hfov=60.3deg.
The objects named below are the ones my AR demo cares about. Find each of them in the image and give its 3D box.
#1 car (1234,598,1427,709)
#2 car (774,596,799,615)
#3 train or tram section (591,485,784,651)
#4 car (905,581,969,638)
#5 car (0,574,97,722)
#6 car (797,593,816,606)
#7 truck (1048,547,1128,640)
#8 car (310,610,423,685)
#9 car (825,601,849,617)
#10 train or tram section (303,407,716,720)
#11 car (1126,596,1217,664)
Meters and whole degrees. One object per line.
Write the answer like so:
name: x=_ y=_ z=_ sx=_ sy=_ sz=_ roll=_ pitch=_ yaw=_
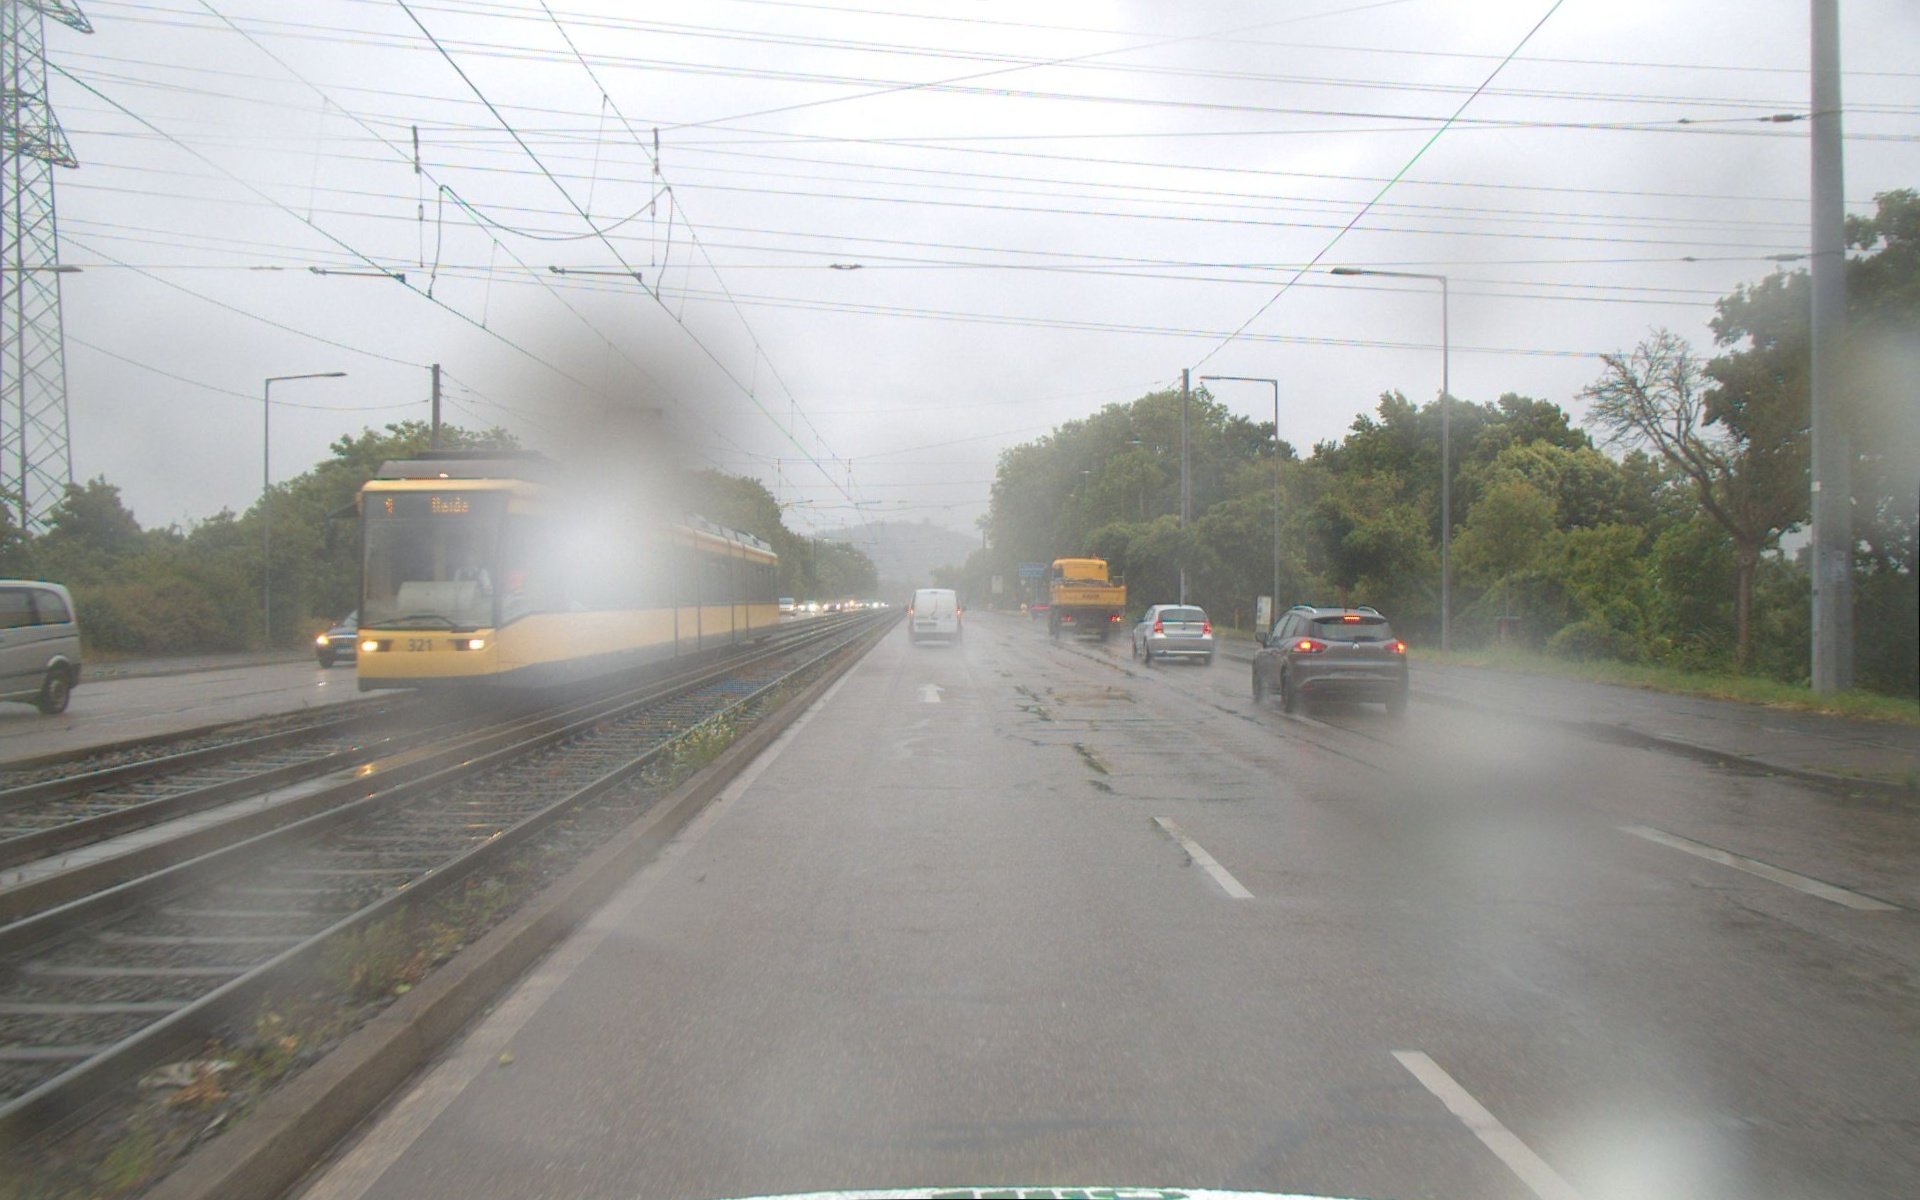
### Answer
car: x=5.323 y=0.715 z=24.322 sx=1.849 sy=1.380 sz=4.277 roll=1 pitch=1 yaw=0
car: x=-15.785 y=0.520 z=150.472 sx=1.805 sy=1.601 sz=5.065 roll=1 pitch=1 yaw=-2
train or tram section: x=-7.314 y=-0.895 z=47.893 sx=2.827 sy=3.770 sz=19.524 roll=1 pitch=1 yaw=-2
car: x=-0.714 y=0.264 z=53.072 sx=1.948 sy=1.713 sz=3.740 roll=1 pitch=1 yaw=0
car: x=-13.567 y=0.625 z=21.871 sx=1.849 sy=1.917 sz=4.622 roll=1 pitch=1 yaw=0
car: x=-17.465 y=-0.034 z=188.018 sx=1.722 sy=1.386 sz=5.070 roll=1 pitch=1 yaw=-1
truck: x=4.832 y=-0.300 z=63.597 sx=2.503 sy=3.314 sz=6.933 roll=1 pitch=1 yaw=0
car: x=-15.208 y=1.179 z=42.563 sx=1.633 sy=1.753 sz=3.731 roll=1 pitch=1 yaw=-1
car: x=-13.132 y=0.951 z=176.648 sx=1.952 sy=1.489 sz=5.252 roll=-2 pitch=1 yaw=2
train or tram section: x=-6.832 y=-0.589 z=29.194 sx=2.806 sy=3.770 sz=17.886 roll=1 pitch=1 yaw=-2
car: x=5.261 y=0.707 z=41.663 sx=1.593 sy=1.529 sz=4.605 roll=1 pitch=1 yaw=-1
